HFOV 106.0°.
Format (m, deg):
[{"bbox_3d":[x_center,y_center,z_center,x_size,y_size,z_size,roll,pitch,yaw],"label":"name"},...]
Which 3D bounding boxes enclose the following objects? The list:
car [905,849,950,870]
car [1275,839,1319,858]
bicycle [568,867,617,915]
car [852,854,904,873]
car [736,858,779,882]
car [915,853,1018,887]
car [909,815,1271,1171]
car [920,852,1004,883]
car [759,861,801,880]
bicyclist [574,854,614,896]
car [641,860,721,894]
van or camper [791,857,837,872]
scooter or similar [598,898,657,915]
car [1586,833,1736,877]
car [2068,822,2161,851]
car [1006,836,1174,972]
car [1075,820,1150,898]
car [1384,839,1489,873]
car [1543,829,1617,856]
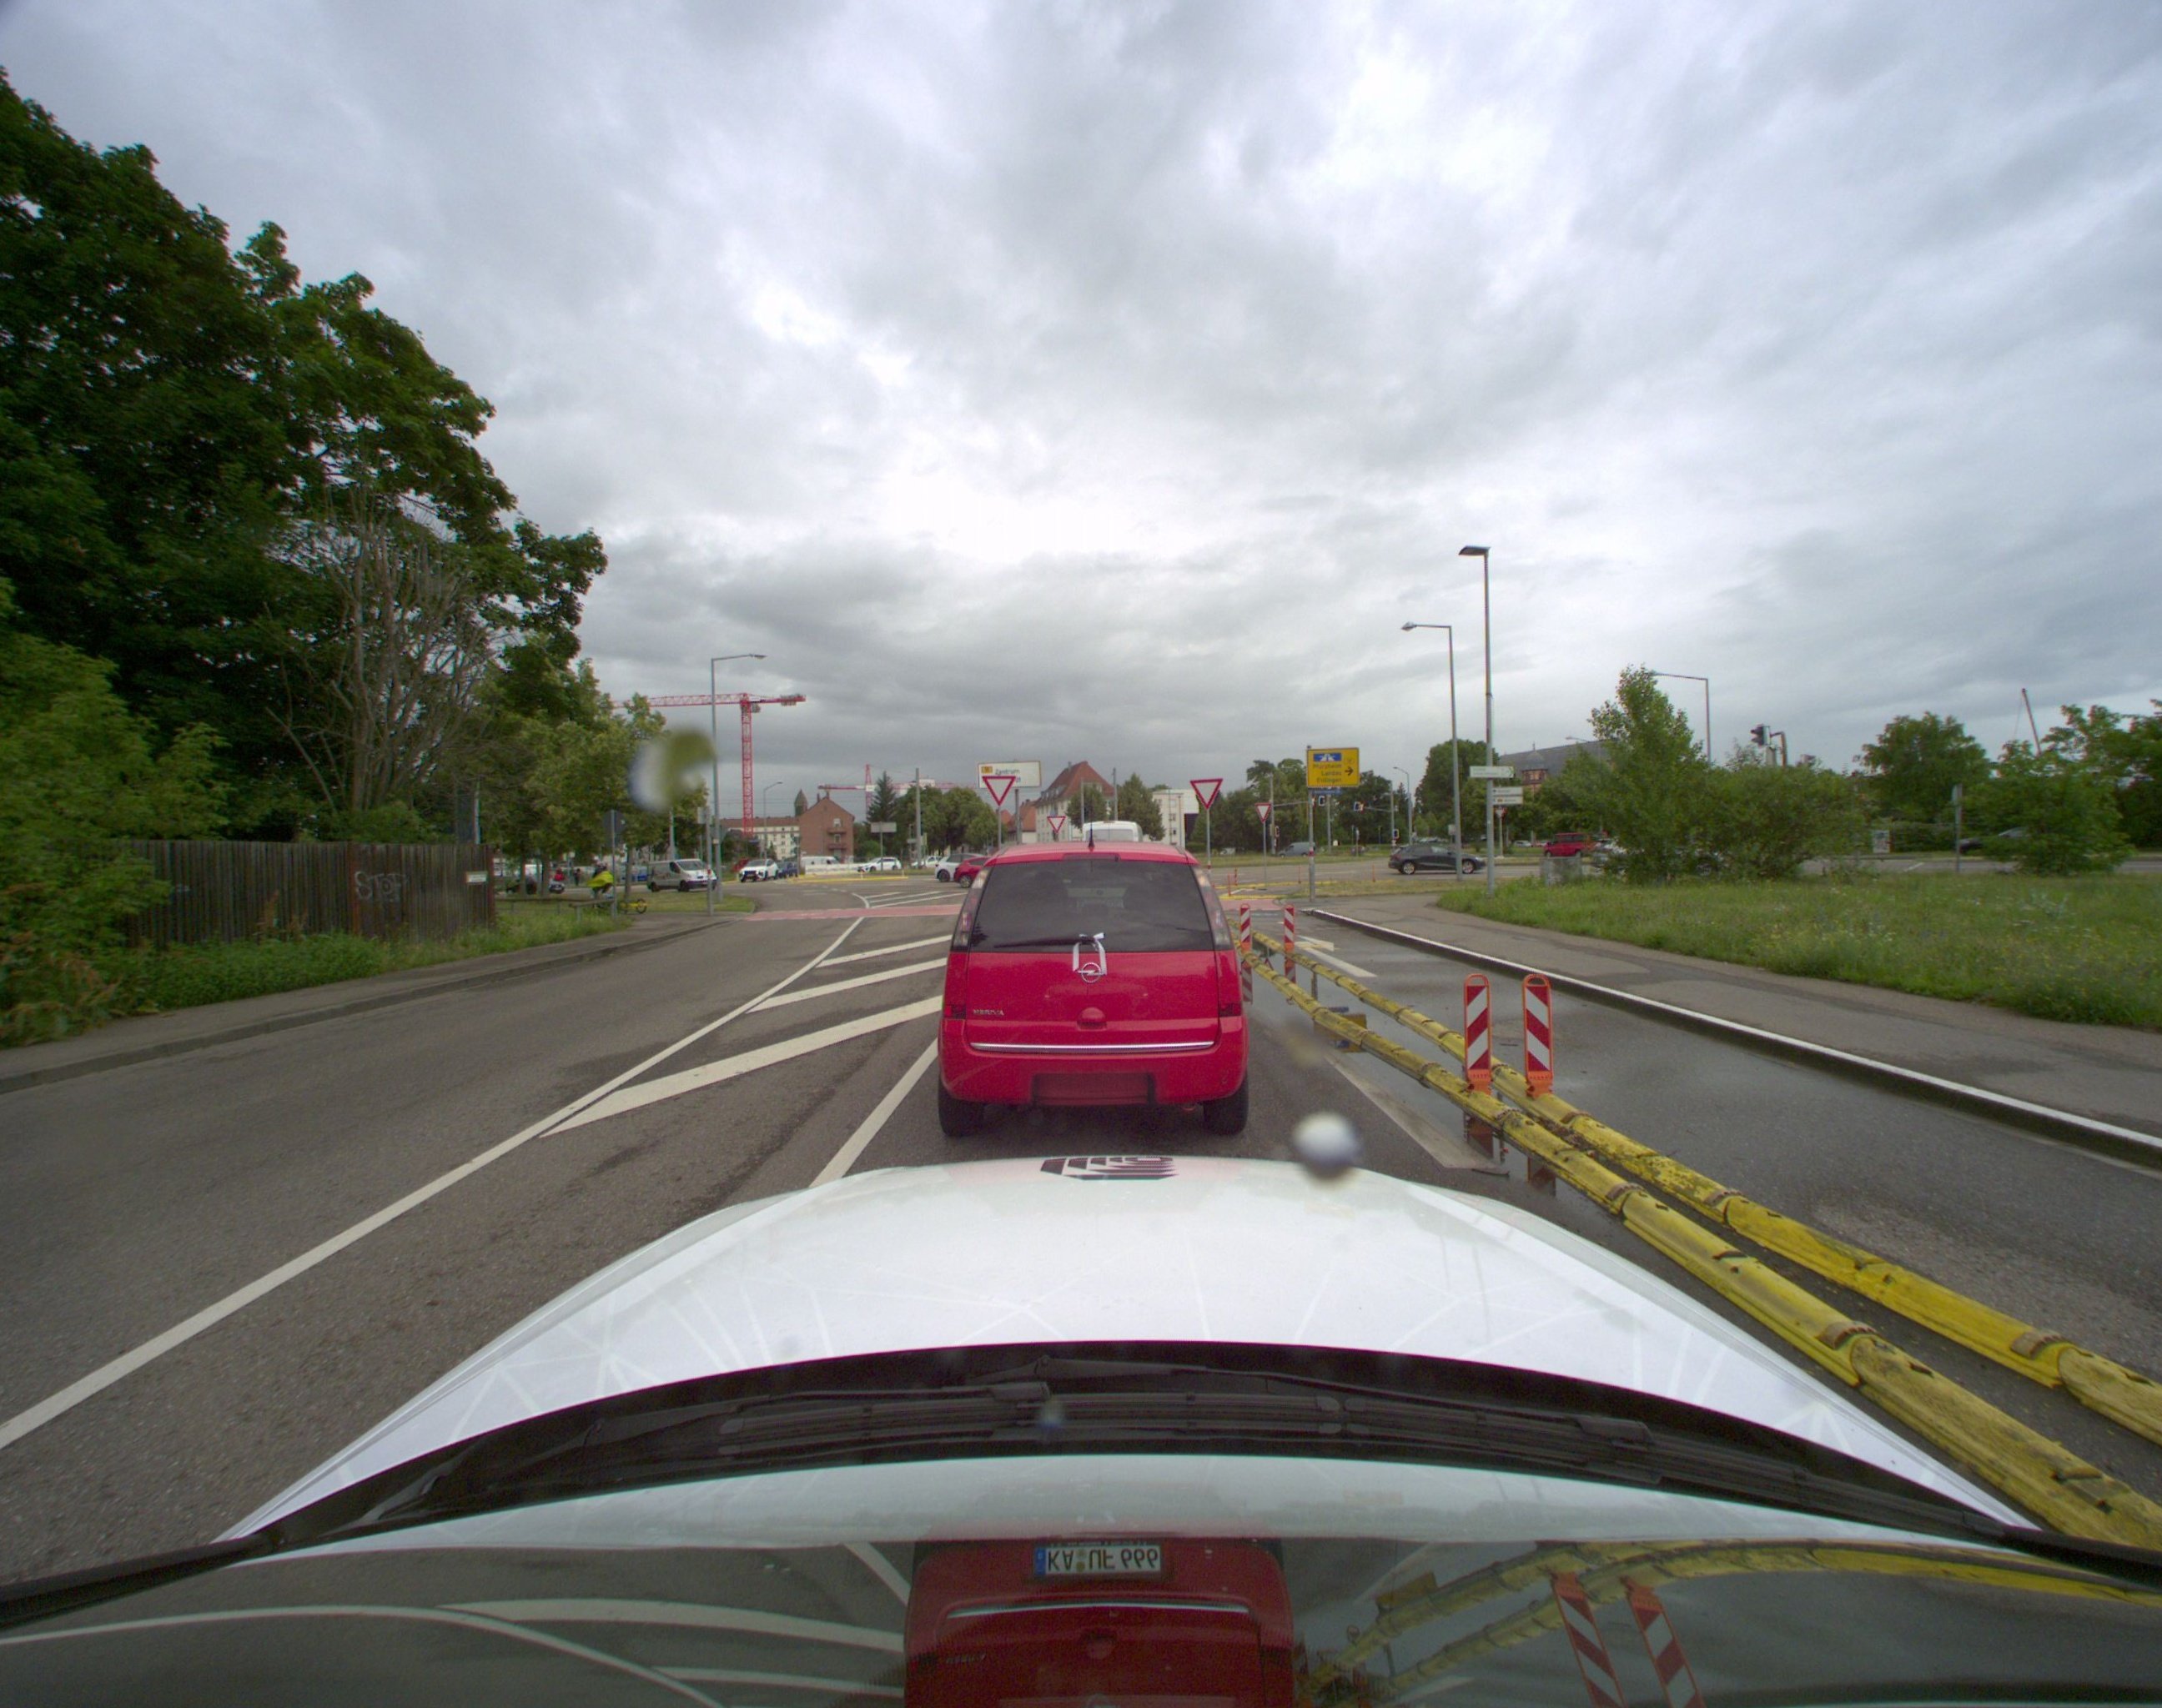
[{"bbox_3d":[-16.237,0.557,86.233,1.974,2.013,4.509,-2,0,37],"label":"car"},{"bbox_3d":[25.127,-0.667,94.793,4.421,2.013,2.013,-2,0,41],"label":"car"},{"bbox_3d":[-17.039,1.279,28.416,1.465,1.612,0.609,-2,0,18],"label":"bicycle"},{"bbox_3d":[-20.224,0.939,81.322,1.974,1.635,4.705,-2,0,40],"label":"car"},{"bbox_3d":[-24.512,1.160,61.804,1.928,1.684,4.180,-2,0,-6],"label":"car"},{"bbox_3d":[-5.437,0.744,38.820,4.310,1.464,2.009,-2,0,16],"label":"car"},{"bbox_3d":[0.095,0.641,5.602,1.667,1.640,3.629,-1,0,2],"label":"car"},{"bbox_3d":[-6.345,0.698,43.789,3.962,1.508,2.006,-2,0,10],"label":"car"},{"bbox_3d":[-25.243,1.351,68.469,1.923,1.489,4.002,-2,0,2],"label":"car"},{"bbox_3d":[-16.968,0.734,28.380,1.053,1.401,0.618,-2,0,18],"label":"bicyclist"},{"bbox_3d":[-23.782,1.360,48.369,4.785,1.900,2.112,-2,0,35],"label":"car"},{"bbox_3d":[-39.794,1.620,121.418,6.135,2.013,2.007,-2,0,12],"label":"van or camper"},{"bbox_3d":[-15.537,1.808,27.896,1.594,0.504,0.929,-2,0,20],"label":"scooter or similar"},{"bbox_3d":[23.135,0.039,32.703,4.480,1.583,2.010,-2,0,18],"label":"car"},{"bbox_3d":[50.539,-0.848,38.554,2.011,1.297,4.698,-2,0,-42],"label":"car"},{"bbox_3d":[0.180,0.603,12.304,2.052,1.648,4.609,-1,0,2],"label":"car"},{"bbox_3d":[1.228,0.151,29.131,2.183,2.540,4.973,-1,0,7],"label":"car"},{"bbox_3d":[16.964,0.099,39.055,4.280,1.464,2.006,-2,0,11],"label":"car"},{"bbox_3d":[38.193,-0.833,62.477,2.110,1.917,4.871,-2,0,-12],"label":"car"}]
